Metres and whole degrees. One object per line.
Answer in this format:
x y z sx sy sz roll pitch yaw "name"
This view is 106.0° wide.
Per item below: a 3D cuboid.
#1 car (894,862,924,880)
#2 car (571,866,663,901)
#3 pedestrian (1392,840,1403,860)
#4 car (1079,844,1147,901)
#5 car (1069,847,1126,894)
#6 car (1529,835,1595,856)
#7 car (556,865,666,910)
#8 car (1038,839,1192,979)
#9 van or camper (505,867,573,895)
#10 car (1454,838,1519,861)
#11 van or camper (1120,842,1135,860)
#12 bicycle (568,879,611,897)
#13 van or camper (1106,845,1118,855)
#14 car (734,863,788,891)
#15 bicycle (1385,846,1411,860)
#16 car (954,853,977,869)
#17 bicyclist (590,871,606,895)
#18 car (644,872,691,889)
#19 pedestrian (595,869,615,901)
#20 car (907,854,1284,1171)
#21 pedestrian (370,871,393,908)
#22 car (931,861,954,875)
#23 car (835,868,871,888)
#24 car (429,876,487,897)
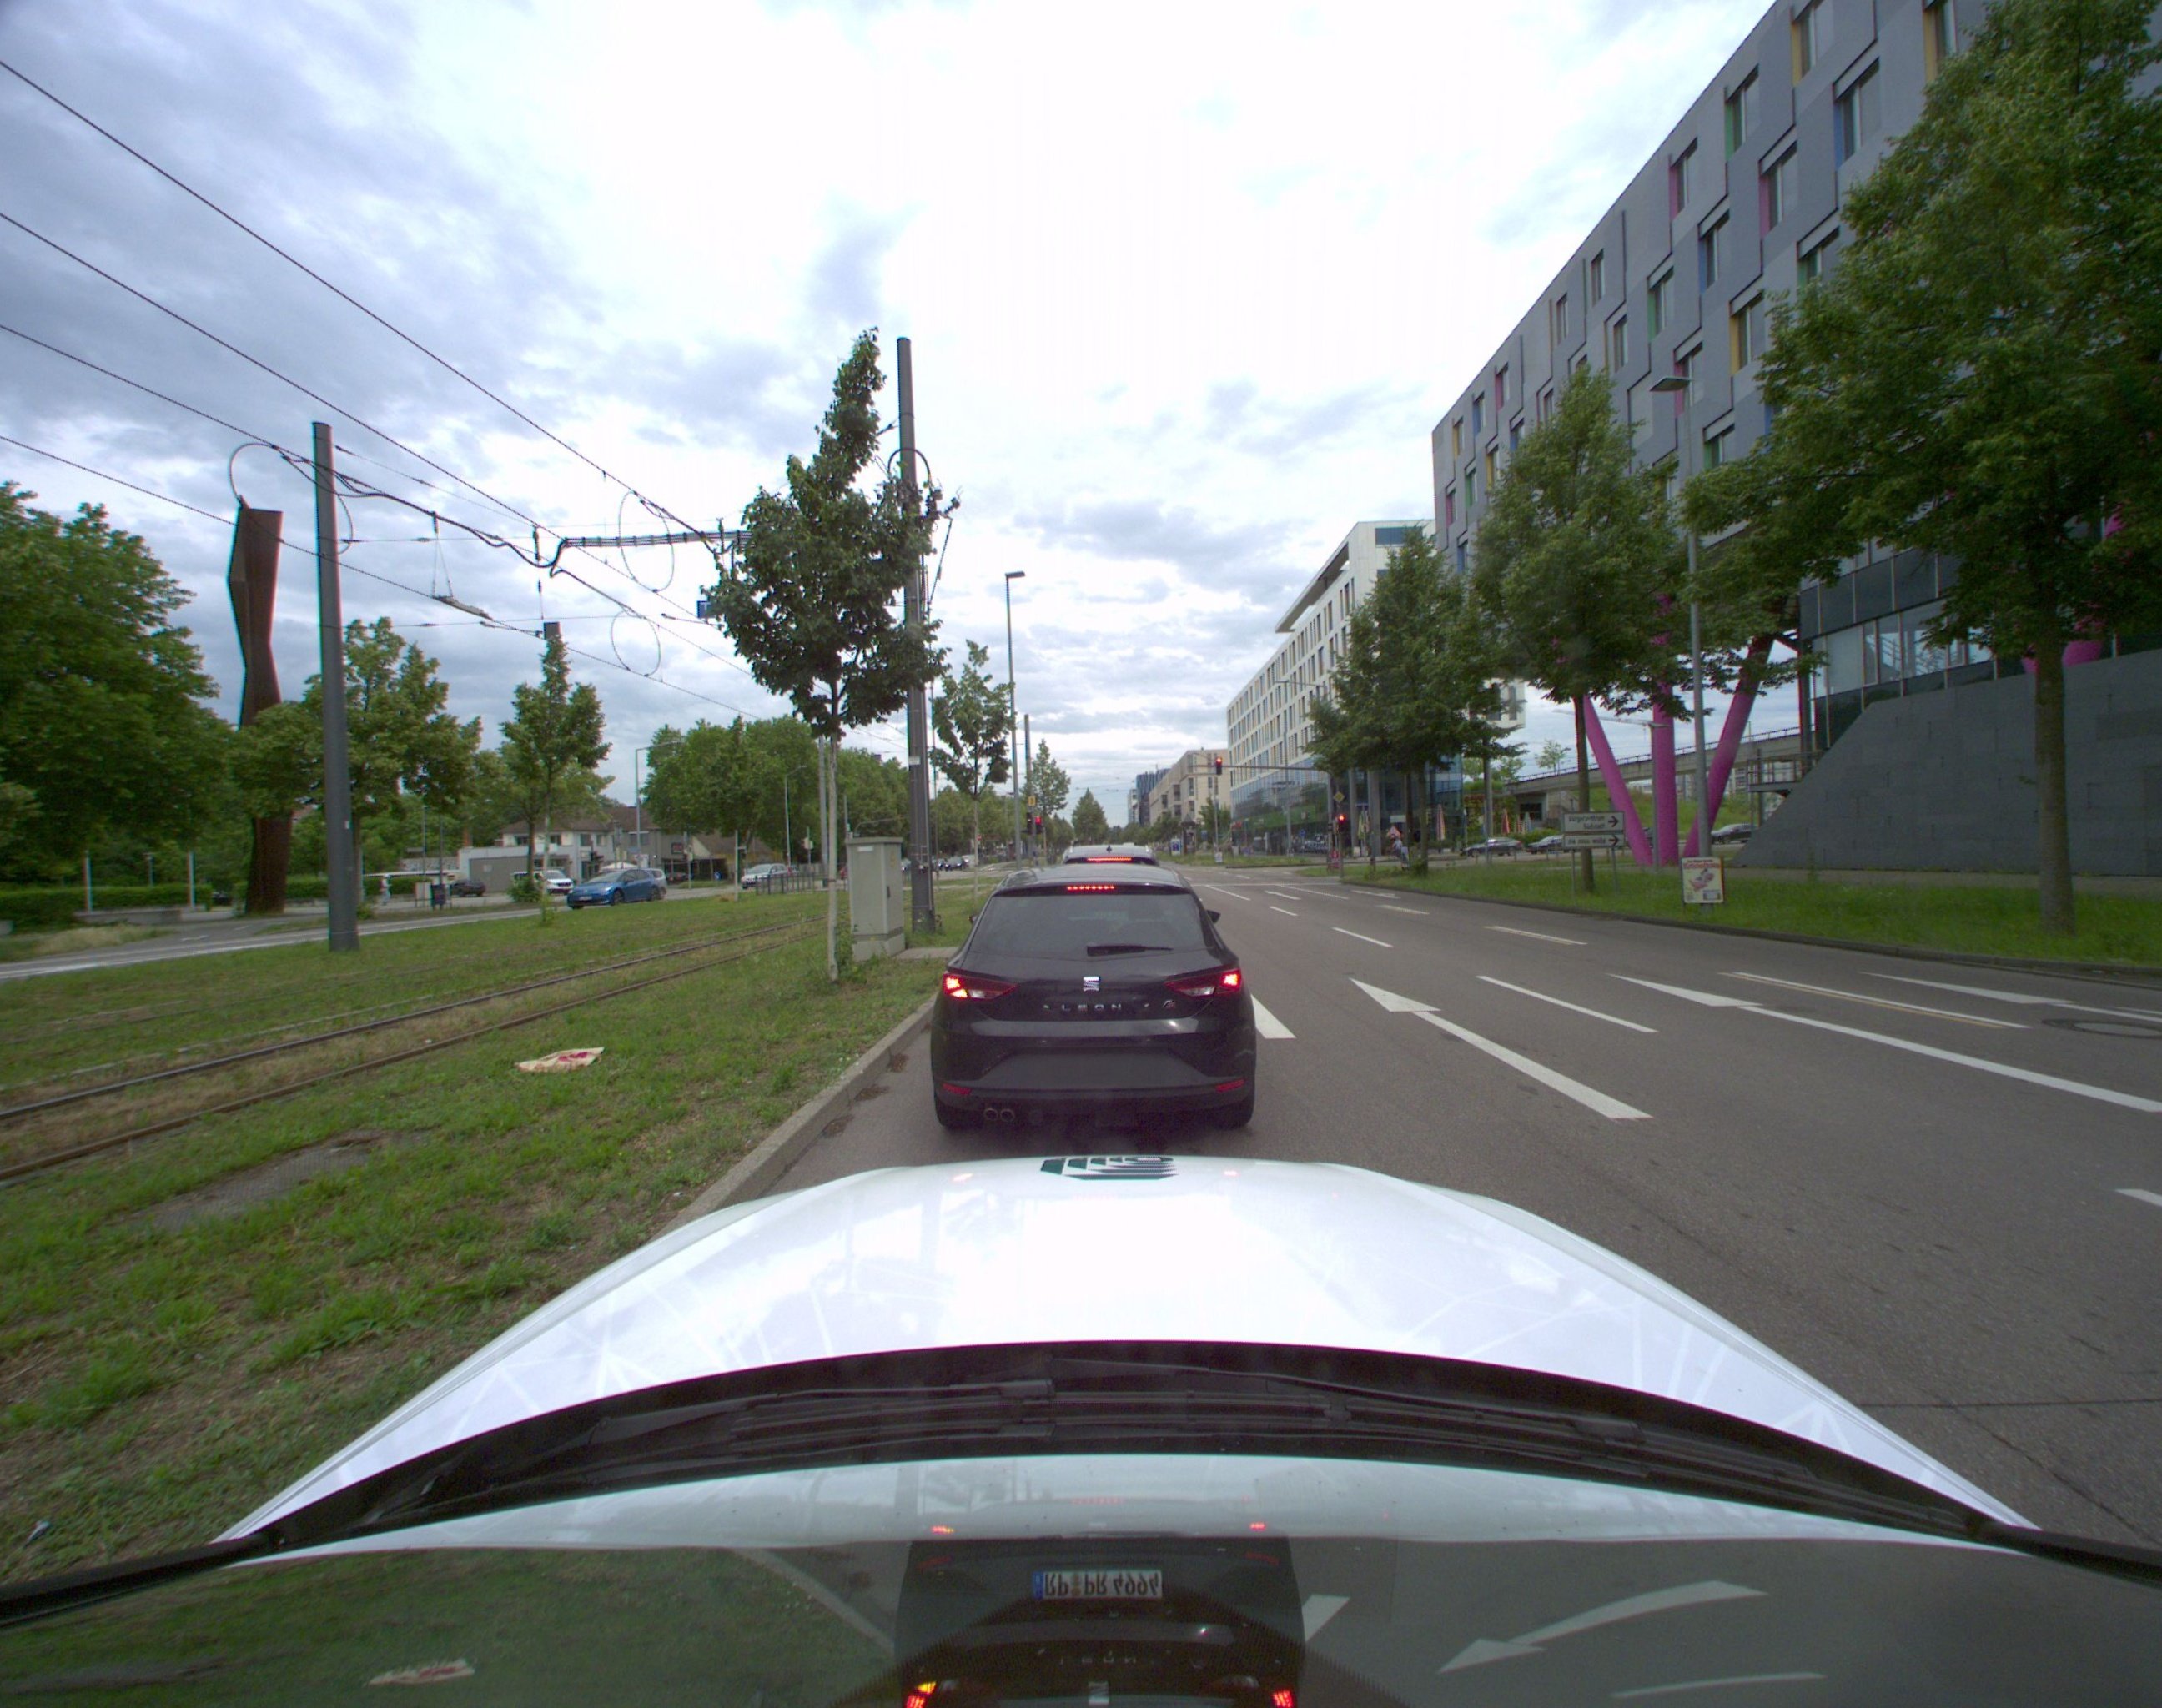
-16.312 1.581 77.431 1.658 1.426 4.746 -4 0 1 "car"
-22.058 1.360 38.939 1.790 1.571 4.578 0 -1 0 "car"
25.653 -0.346 65.967 0.612 1.604 0.619 -2 0 4 "pedestrian"
1.122 0.536 26.319 1.984 1.681 4.005 -1 1 5 "car"
0.702 0.584 31.592 1.985 1.681 4.005 -1 1 4 "car"
37.860 -0.677 64.174 4.063 1.455 1.759 -2 0 3 "car"
-19.212 1.306 33.550 1.960 1.588 4.683 -1 0 -3 "car"
0.474 0.654 11.845 1.796 1.624 4.002 -2 0 2 "car"
-41.619 2.091 62.468 5.212 2.013 2.481 -2 0 34 "van or camper"
31.844 -0.376 63.997 4.233 1.615 1.759 -2 0 3 "car"
6.715 -0.450 118.071 2.101 2.355 4.927 -1 2 2 "van or camper"
-35.682 2.466 59.174 2.520 1.202 0.734 -2 0 -25 "bicycle"
5.502 -0.746 143.563 1.986 1.615 4.792 -1 1 2 "van or camper"
-21.408 1.518 54.698 1.715 1.643 4.674 -2 0 0 "car"
25.682 -0.083 65.964 1.784 1.085 0.618 -2 0 3 "bicycle"
-13.606 0.818 96.224 1.987 1.750 4.201 -2 0 1 "car"
-35.220 2.111 59.376 0.854 1.721 0.715 -2 0 -25 "bicyclist"
-47.139 3.010 92.853 4.258 1.816 2.111 -2 0 6 "car"
-27.750 1.814 47.500 0.779 1.832 0.771 -2 0 -16 "pedestrian"
0.104 0.740 5.790 1.737 1.417 4.001 -1 0 1 "car"
-38.813 1.957 45.205 0.910 2.013 0.942 -2 0 -40 "pedestrian"
-16.131 1.627 95.002 1.795 1.377 4.058 -2 0 1 "car"
-20.609 2.115 73.886 1.789 1.570 4.331 -2 0 3 "car"
-59.548 3.099 77.861 3.969 1.848 2.002 -2 0 4 "car"
